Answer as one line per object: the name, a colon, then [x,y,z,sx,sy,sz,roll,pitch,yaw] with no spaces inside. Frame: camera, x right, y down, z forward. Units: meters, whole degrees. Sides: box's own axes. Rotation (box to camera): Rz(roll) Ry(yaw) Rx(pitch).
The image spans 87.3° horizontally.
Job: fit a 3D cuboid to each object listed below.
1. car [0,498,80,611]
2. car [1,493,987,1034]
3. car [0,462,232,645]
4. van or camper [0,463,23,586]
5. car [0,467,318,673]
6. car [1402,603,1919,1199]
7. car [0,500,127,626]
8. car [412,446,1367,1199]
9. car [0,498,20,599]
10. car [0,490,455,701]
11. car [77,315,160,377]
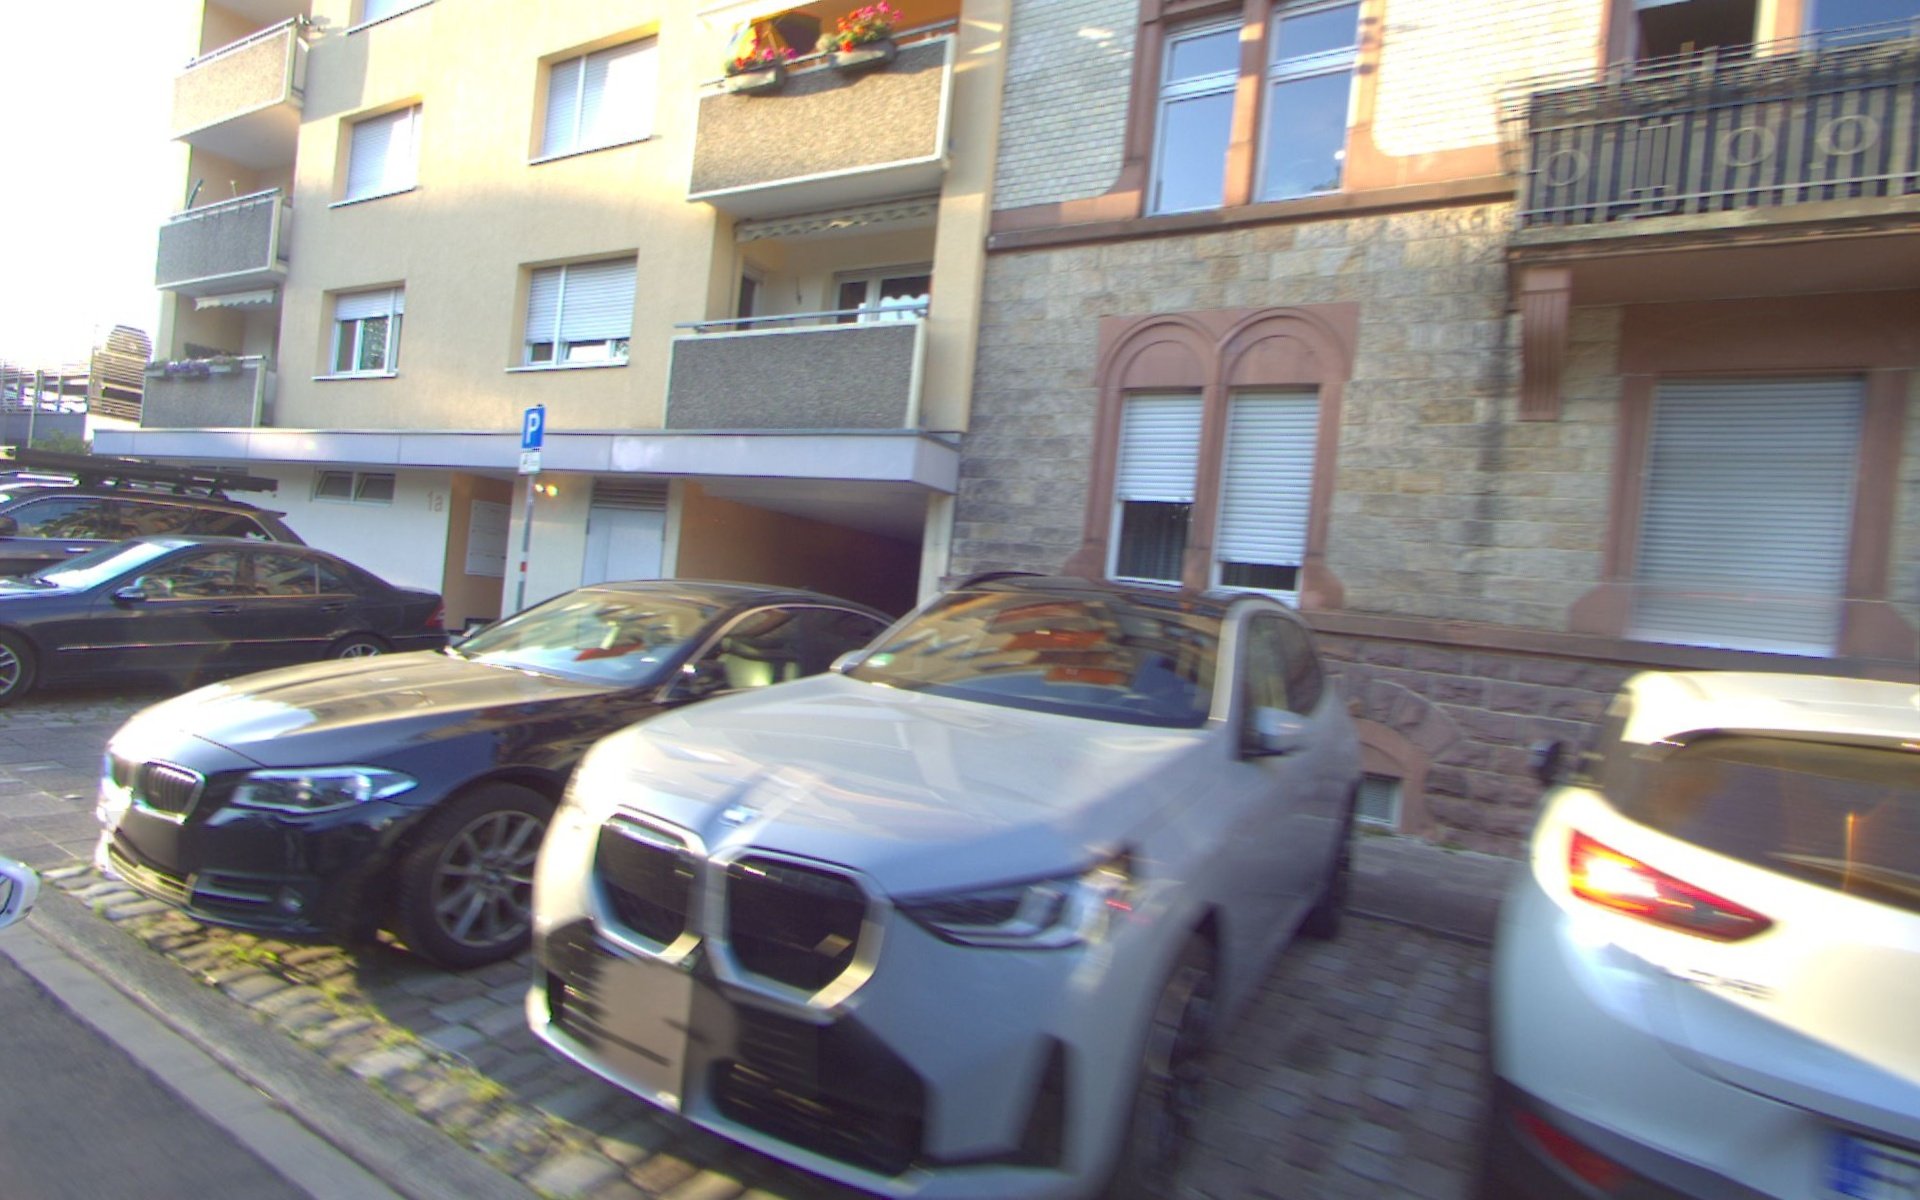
car: [-15.453,-0.794,14.031,1.815,1.612,4.407,4,-1,31]
car: [-1.742,0.543,5.287,1.815,1.573,4.408,4,-1,30]
car: [-11.488,-0.577,11.574,1.815,2.006,4.641,4,-1,31]
van or camper: [-19.204,-1.445,16.585,2.006,2.197,5.134,5,2,29]
car: [-9.338,-0.321,10.049,1.815,1.886,4.516,6,0,31]
car: [2.891,0.960,3.479,1.816,1.639,4.404,3,-1,32]
car: [-13.533,-0.581,12.581,1.815,1.582,4.407,4,-1,31]
car: [0.432,0.686,4.188,1.813,1.770,4.411,7,1,27]
car: [-17.525,-0.993,15.249,1.815,1.651,4.407,4,-1,31]
car: [-7.238,-0.002,9.093,1.816,1.573,4.405,4,-1,33]
car: [-39.979,-11.997,47.767,3.939,2.037,1.994,5,-2,37]
